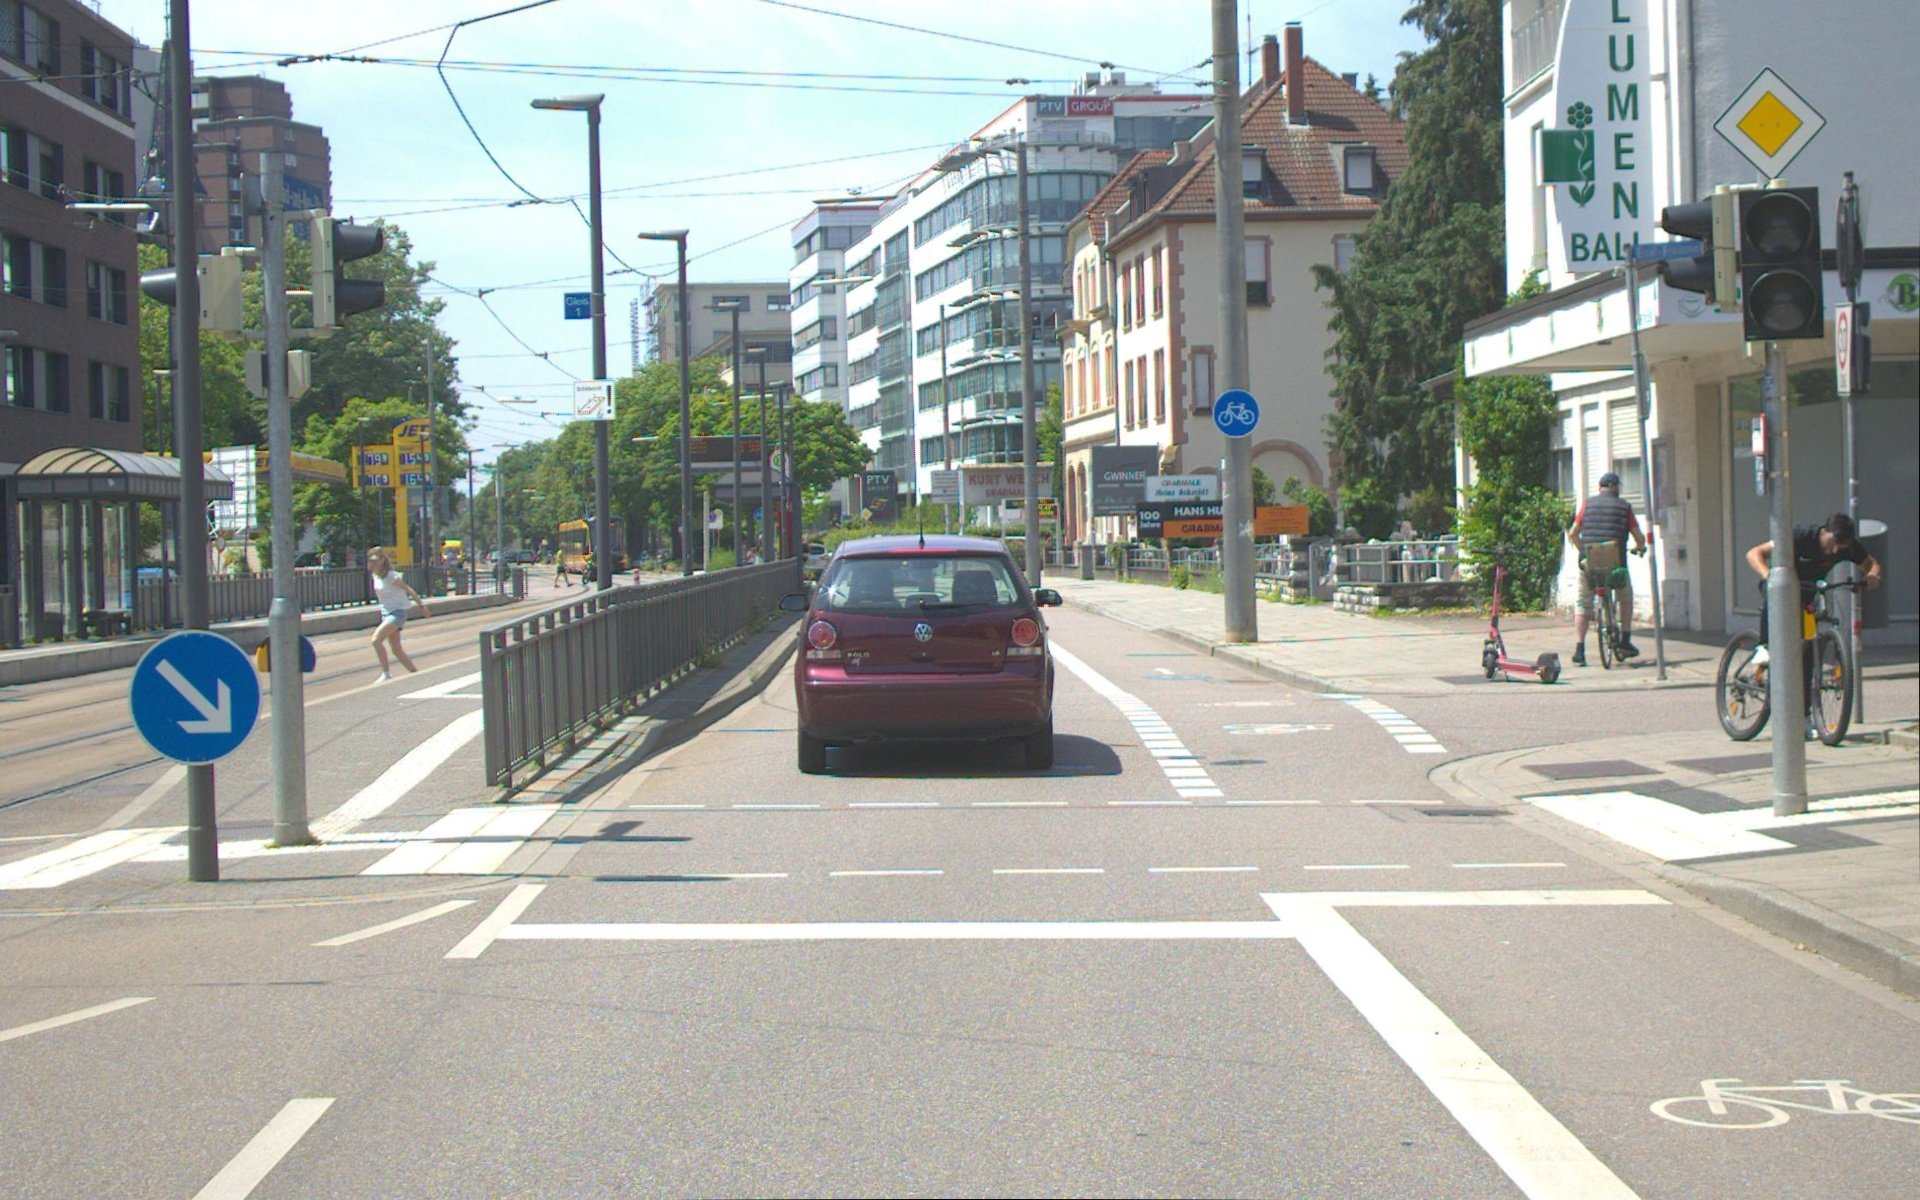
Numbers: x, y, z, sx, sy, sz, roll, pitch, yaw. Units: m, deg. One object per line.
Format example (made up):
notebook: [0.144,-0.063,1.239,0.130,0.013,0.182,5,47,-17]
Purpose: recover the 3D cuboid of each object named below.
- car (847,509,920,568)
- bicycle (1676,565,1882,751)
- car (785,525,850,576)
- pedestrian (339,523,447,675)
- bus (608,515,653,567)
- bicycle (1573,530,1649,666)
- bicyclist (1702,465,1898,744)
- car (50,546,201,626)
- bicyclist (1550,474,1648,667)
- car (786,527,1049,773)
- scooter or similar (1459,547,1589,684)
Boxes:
car: [-2.282,-1.809,101.241,1.993,1.619,4.632,-2,1,-3]
bicycle: [5.025,0.334,21.205,0.668,0.999,1.864,-6,2,-2]
car: [-5.420,-1.880,130.146,1.993,1.842,4.001,-2,1,-8]
pedestrian: [-6.356,-0.020,38.593,1.096,1.669,0.766,-1,1,-4]
bus: [-19.421,-3.469,202.456,2.144,2.993,6.575,-2,1,-9]
bicycle: [6.068,-0.036,31.985,0.376,1.193,1.903,-1,1,20]
bicyclist: [5.174,0.016,21.217,0.832,1.612,0.860,-6,2,-2]
car: [-17.019,-0.313,70.288,1.993,1.503,4.000,-2,1,1]
bicyclist: [5.941,-0.279,31.944,0.728,1.754,0.923,-1,1,19]
car: [-0.299,0.275,22.350,1.561,1.448,3.062,-2,1,-2]
scooter or similar: [4.961,0.131,30.311,0.339,1.174,1.468,-2,1,-25]
